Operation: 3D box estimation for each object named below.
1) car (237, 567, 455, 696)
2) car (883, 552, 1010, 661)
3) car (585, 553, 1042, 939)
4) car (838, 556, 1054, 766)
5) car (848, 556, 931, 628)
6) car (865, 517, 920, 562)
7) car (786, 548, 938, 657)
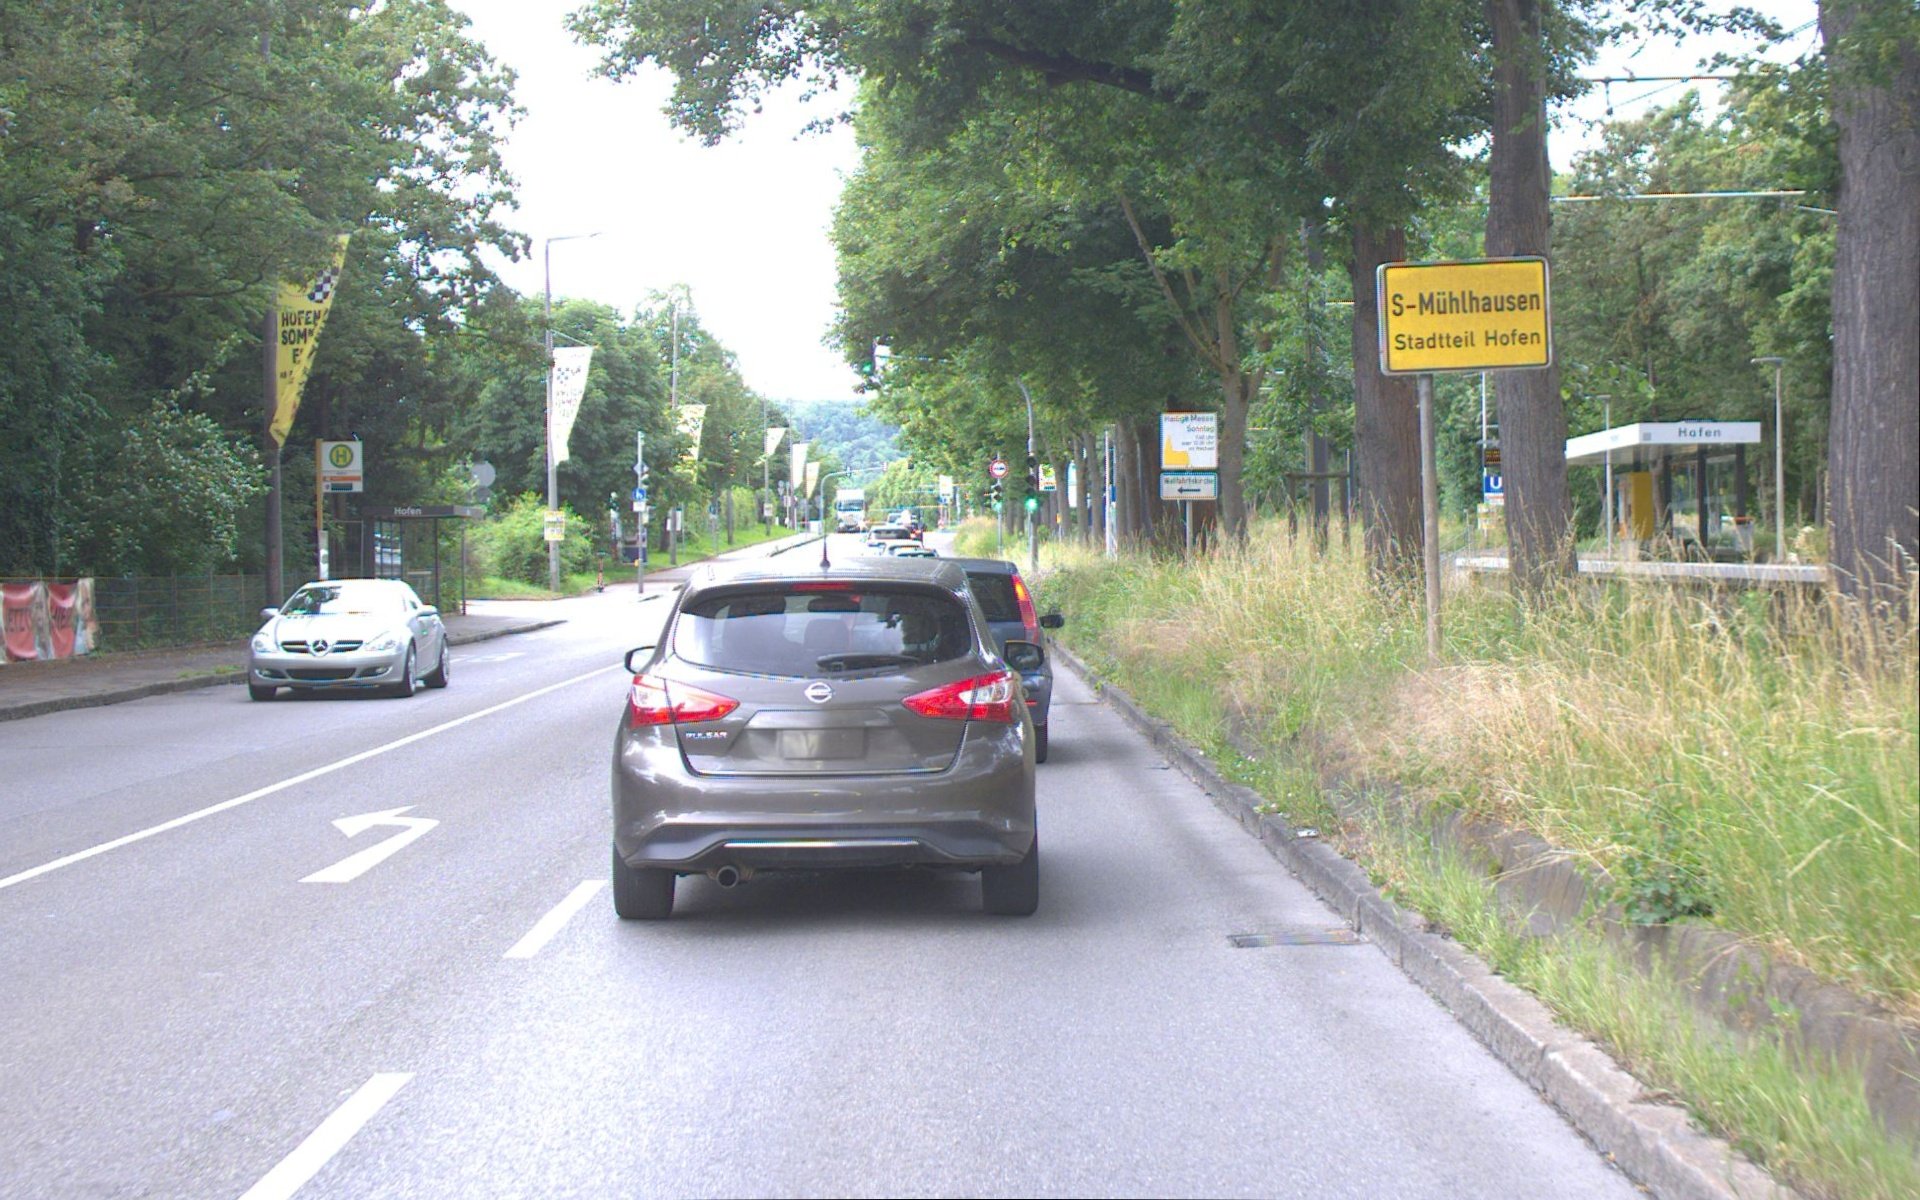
[{"bbox_3d":[-6.771,0.314,38.215,1.758,1.332,3.696,-1,1,0],"label":"car"},{"bbox_3d":[-0.204,0.060,47.557,1.691,1.436,3.542,0,1,-1],"label":"car"},{"bbox_3d":[-0.581,0.551,15.364,1.783,1.501,3.696,-1,1,0],"label":"car"},{"bbox_3d":[-0.121,0.406,25.768,1.502,1.436,3.542,0,1,-1],"label":"car"},{"bbox_3d":[-1.451,-0.187,71.521,1.691,1.436,3.542,0,1,-1],"label":"car"},{"bbox_3d":[-2.484,-2.220,127.387,1.993,1.568,4.000,1,0,-1],"label":"car"},{"bbox_3d":[-1.330,0.022,47.898,1.993,1.408,4.000,1,0,-1],"label":"car"}]
